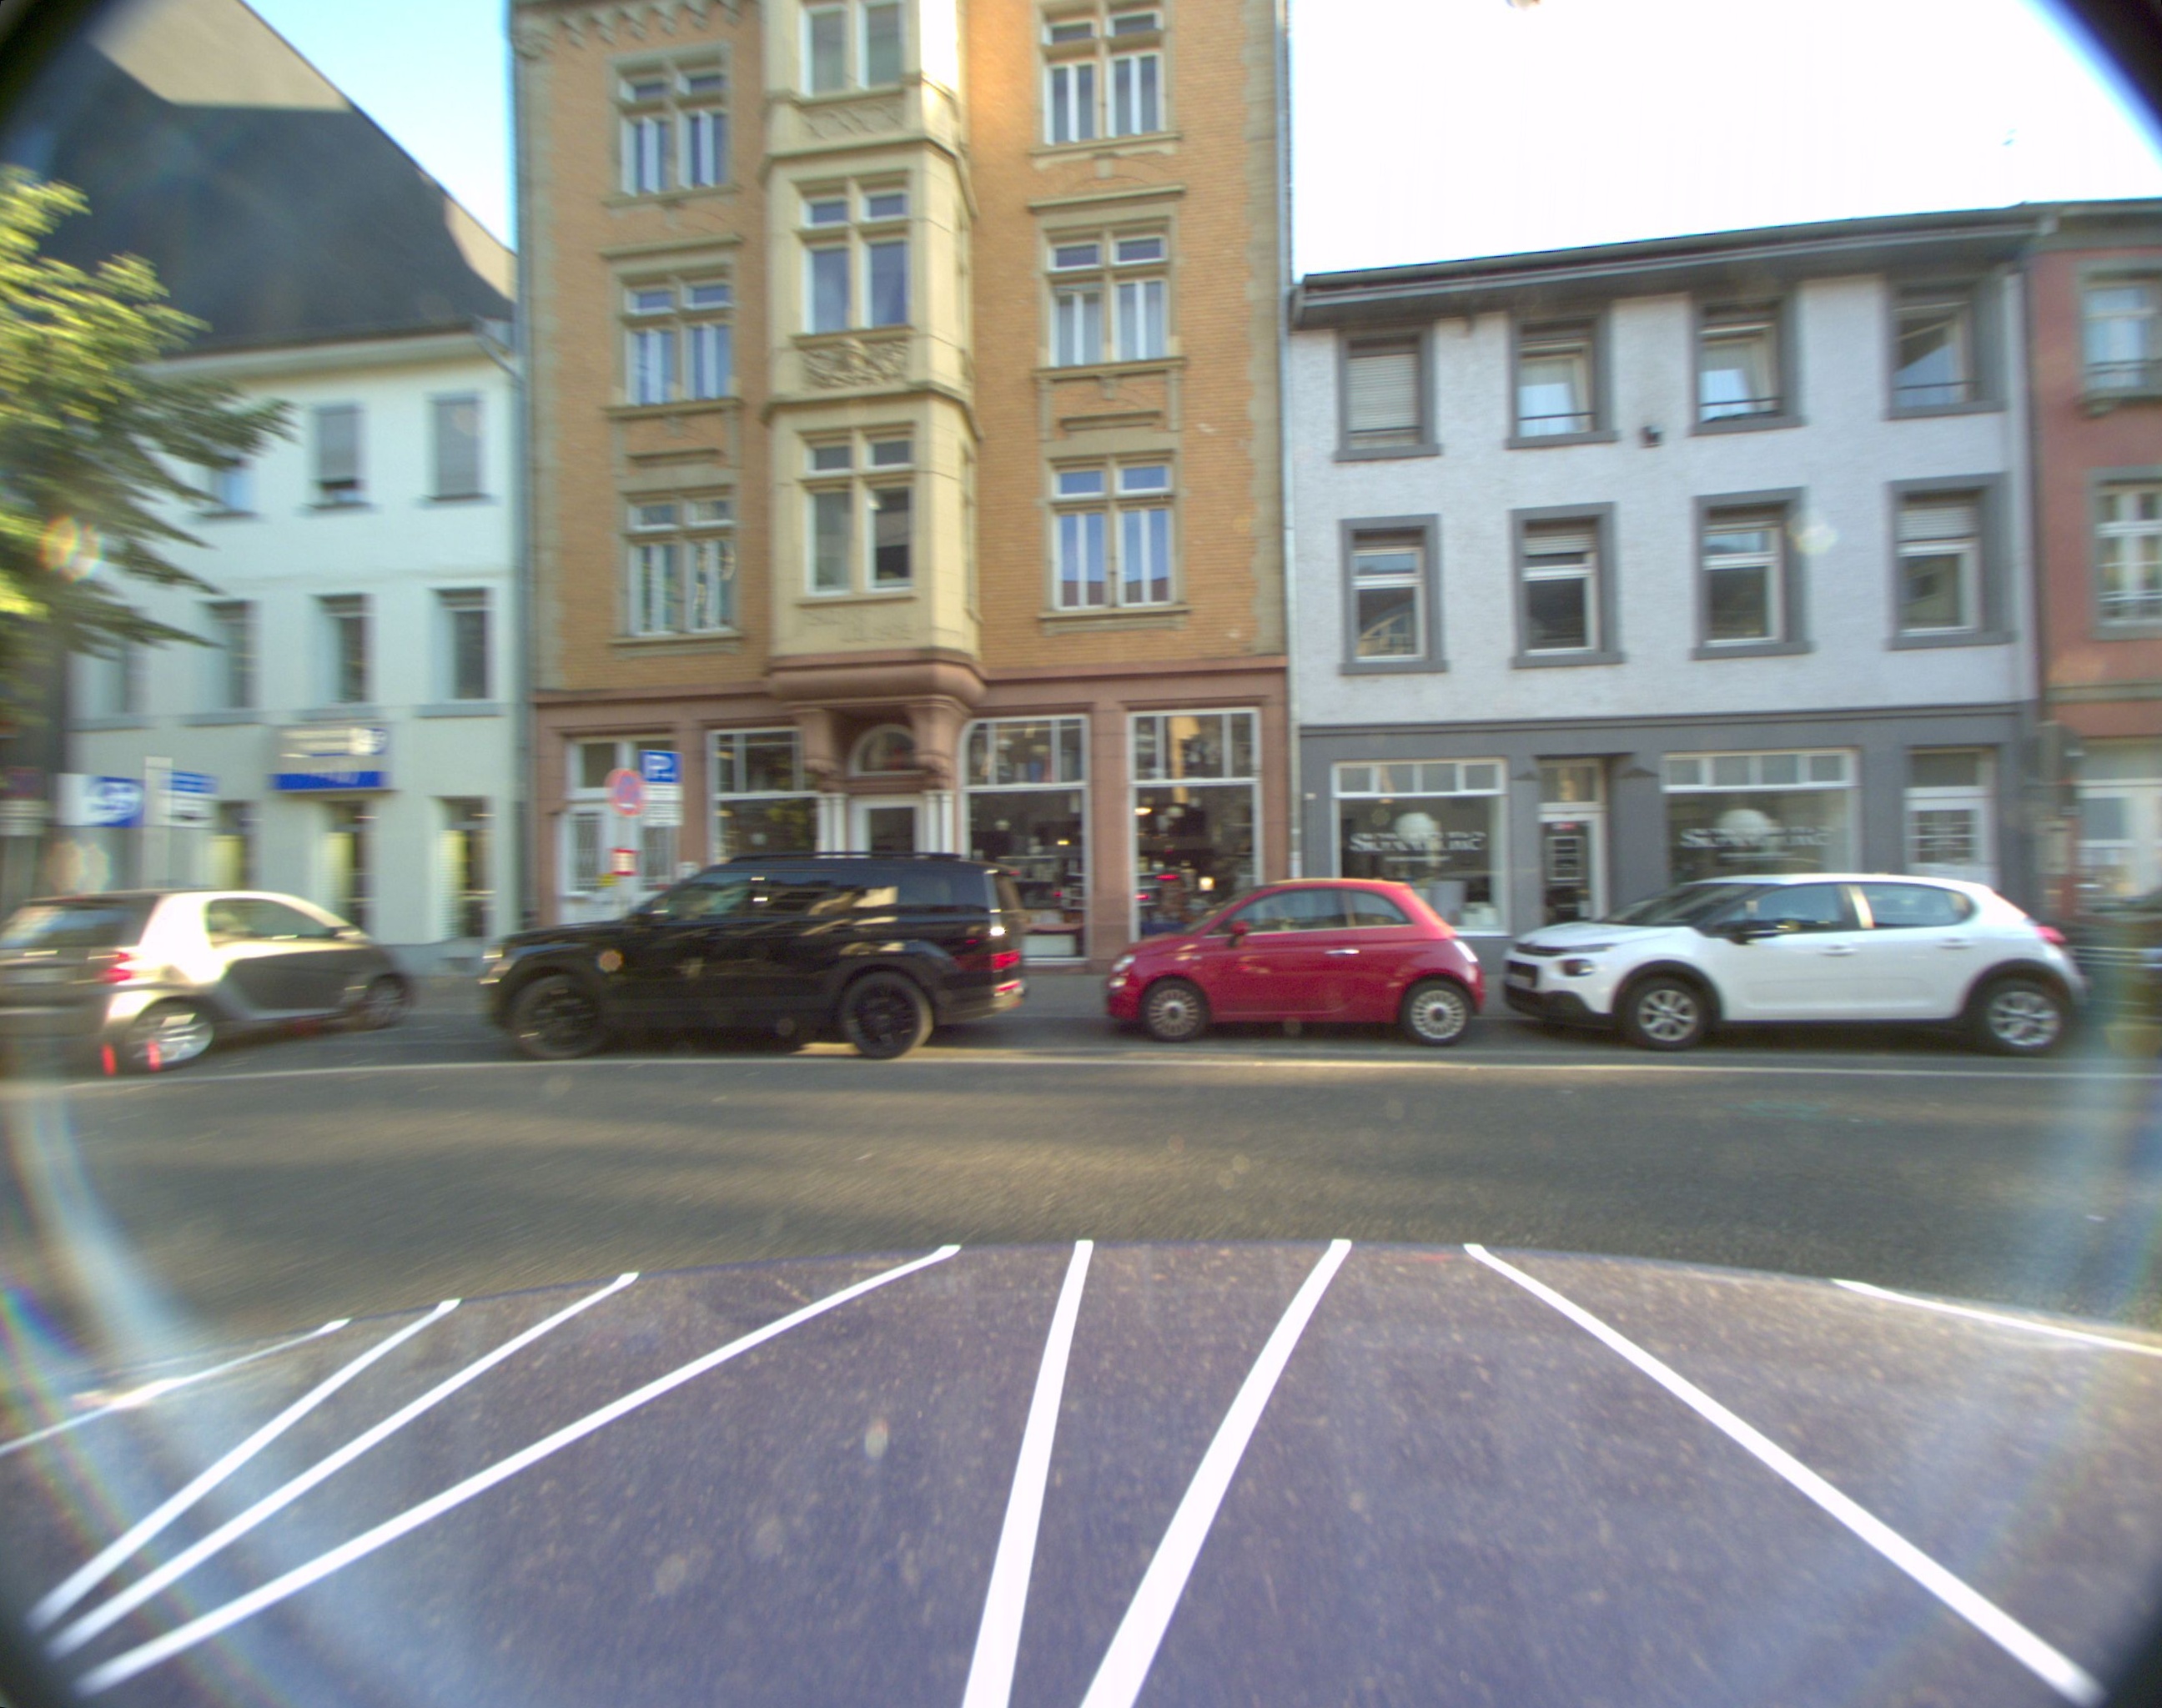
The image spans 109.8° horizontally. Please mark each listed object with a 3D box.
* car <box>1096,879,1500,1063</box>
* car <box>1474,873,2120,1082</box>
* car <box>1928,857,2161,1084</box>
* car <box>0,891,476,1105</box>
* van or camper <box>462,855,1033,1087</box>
[{"bbox_3d":[1.947,1.054,7.437,3.417,1.560,1.532,-1,-2,7],"label":"car"},{"bbox_3d":[5.922,1.004,6.771,3.930,1.563,1.669,-1,-2,6],"label":"car"},{"bbox_3d":[10.312,0.857,6.203,4.455,1.687,1.802,-1,-3,5],"label":"car"},{"bbox_3d":[-8.355,1.220,7.699,1.506,1.566,3.483,-1,-1,4],"label":"car"},{"bbox_3d":[-2.764,0.973,7.071,4.457,1.796,1.896,-1,-1,1],"label":"van or camper"}]
